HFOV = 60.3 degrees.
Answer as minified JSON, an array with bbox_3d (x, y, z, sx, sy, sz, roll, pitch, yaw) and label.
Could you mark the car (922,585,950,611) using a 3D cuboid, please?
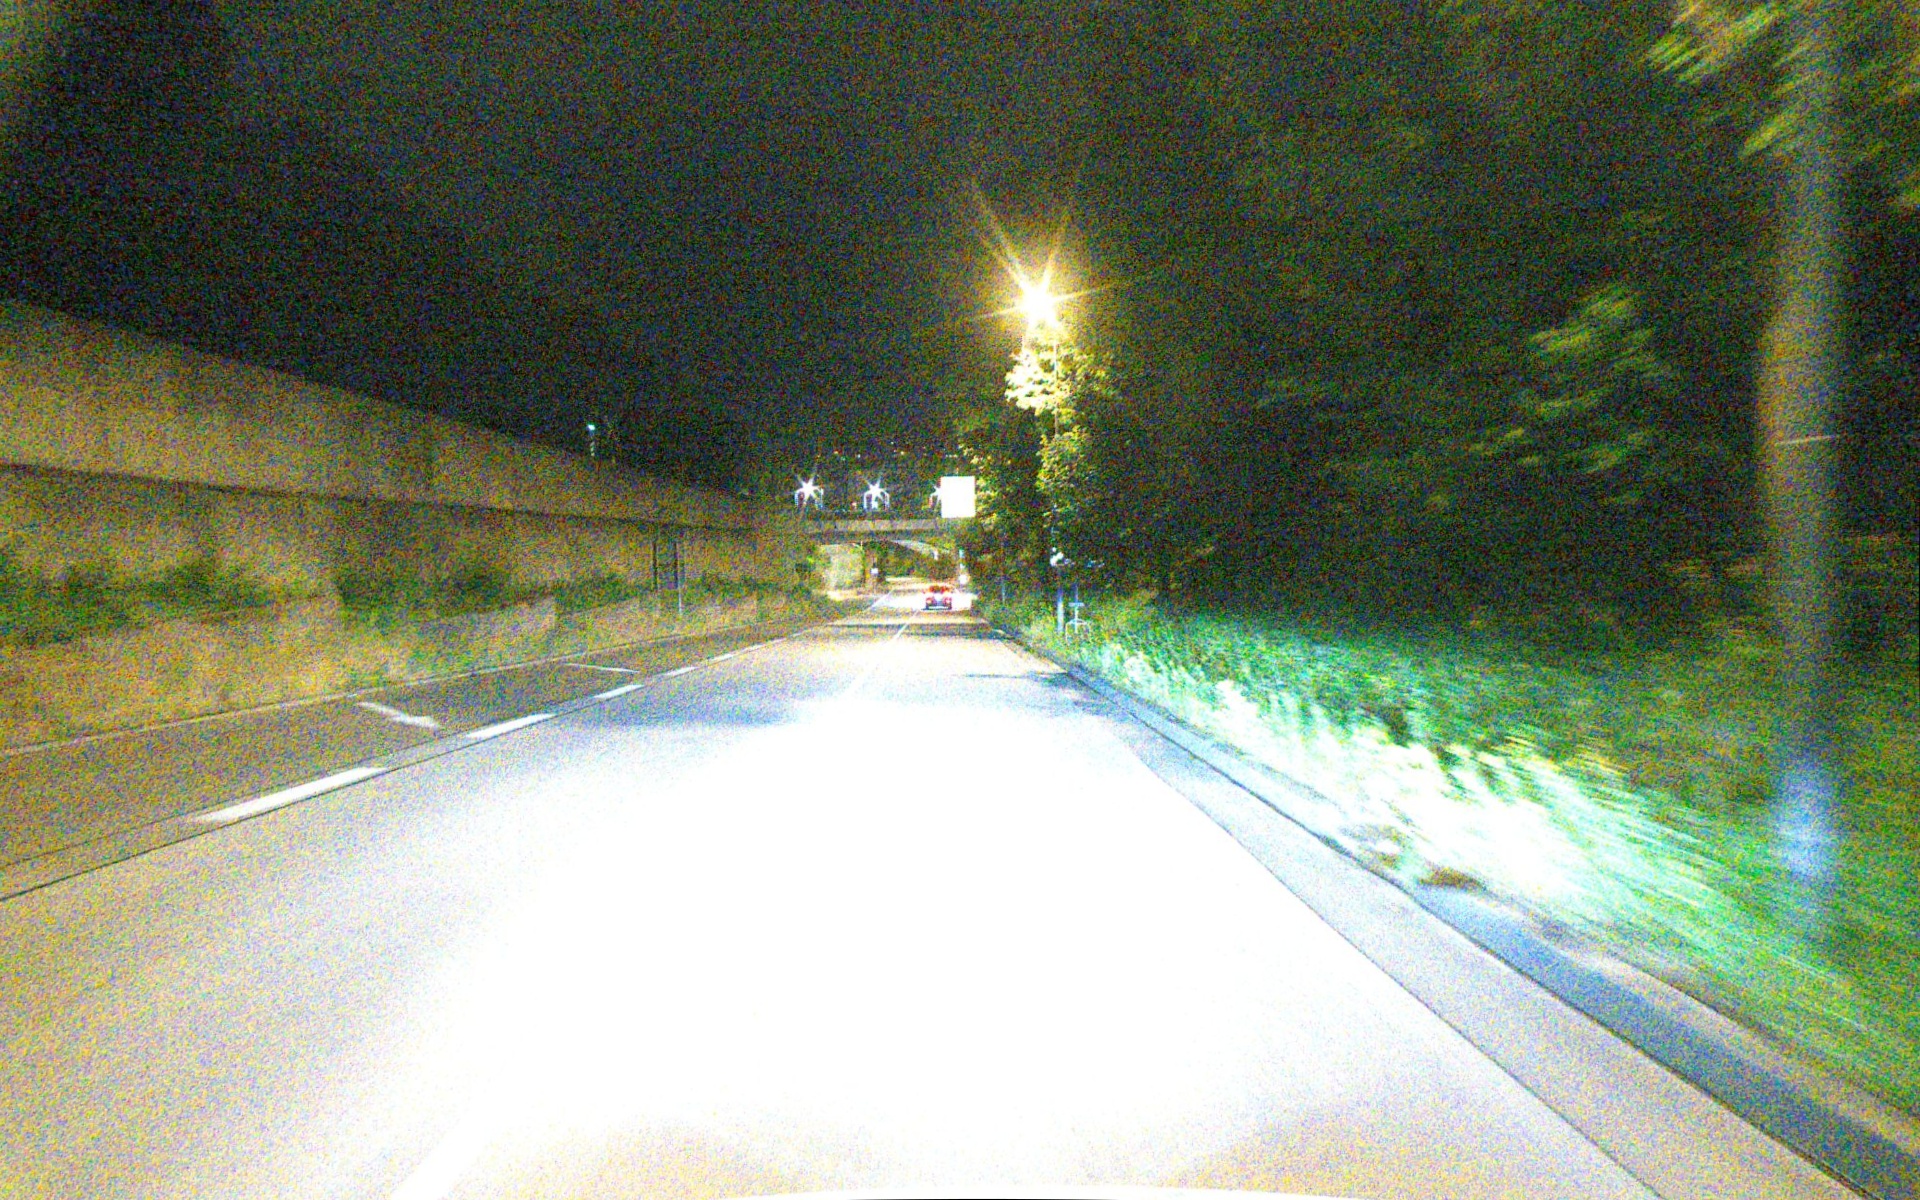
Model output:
[{"bbox_3d":[-1.625,-0.176,111.434,1.728,1.670,3.721,0,1,-3],"label":"car"}]
